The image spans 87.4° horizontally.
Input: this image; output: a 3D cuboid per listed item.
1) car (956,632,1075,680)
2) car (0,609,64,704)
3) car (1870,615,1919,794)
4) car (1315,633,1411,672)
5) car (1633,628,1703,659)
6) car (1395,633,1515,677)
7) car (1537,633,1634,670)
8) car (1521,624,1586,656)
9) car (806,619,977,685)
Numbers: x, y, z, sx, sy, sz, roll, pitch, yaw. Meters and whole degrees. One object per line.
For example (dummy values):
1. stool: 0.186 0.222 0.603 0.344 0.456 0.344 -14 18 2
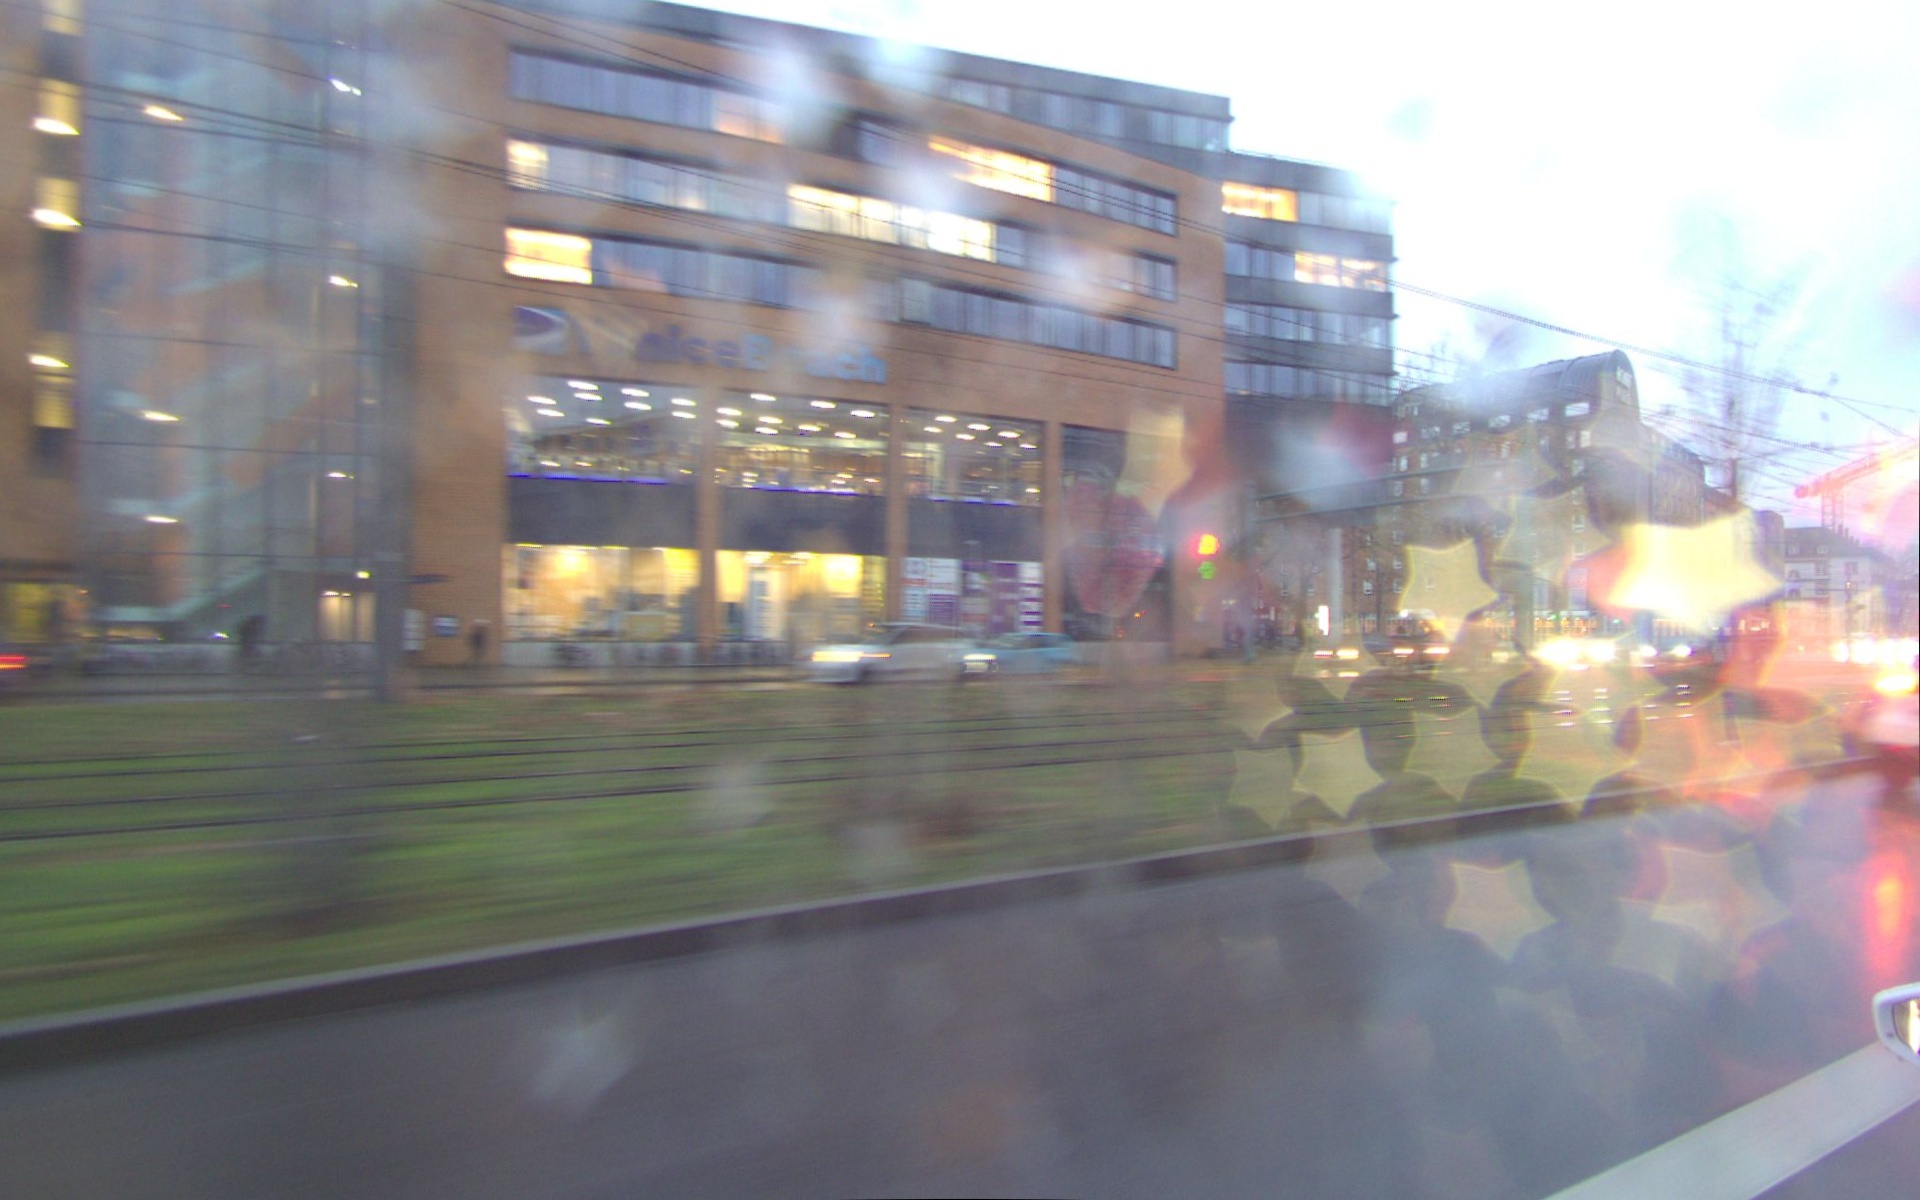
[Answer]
1. car: 1.752 1.728 31.618 3.506 1.420 1.499 1 -2 -29
2. car: -16.724 0.858 15.509 3.903 1.461 1.809 1 -2 -26
3. car: 9.937 0.898 9.082 3.645 1.516 1.630 1 -1 -32
4. car: 16.356 2.102 40.682 4.379 1.469 1.620 2 -2 -38
5. car: 35.768 2.183 50.741 3.581 1.469 1.624 2 -2 -31
6. car: 16.911 1.845 34.267 4.151 1.411 1.721 2 -2 -31
7. car: 26.194 2.122 42.025 4.272 1.469 1.981 2 -2 -35
8. car: 32.818 2.195 55.566 3.580 1.714 1.624 2 -2 -31
9. car: -1.542 1.189 22.904 3.609 1.391 1.499 2 -2 -29
